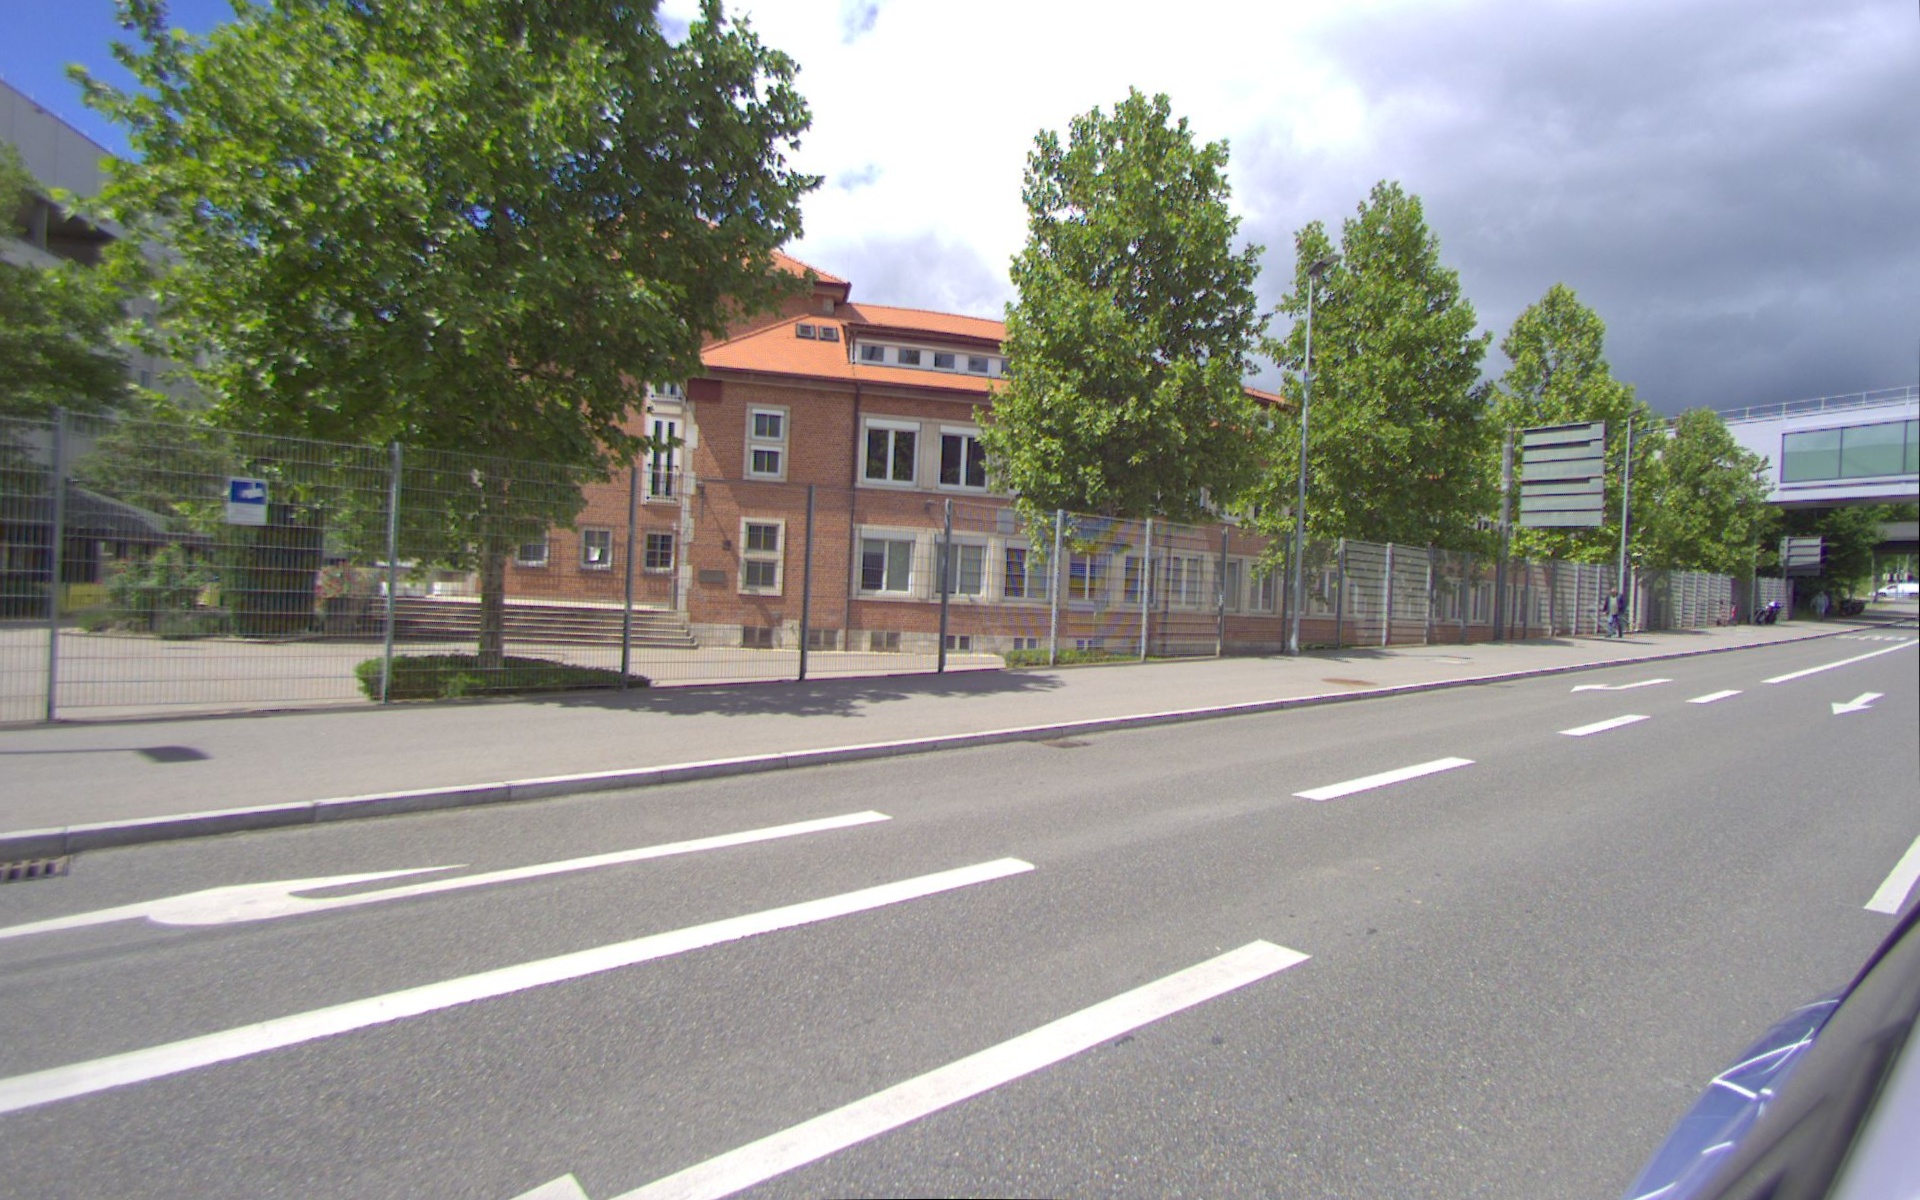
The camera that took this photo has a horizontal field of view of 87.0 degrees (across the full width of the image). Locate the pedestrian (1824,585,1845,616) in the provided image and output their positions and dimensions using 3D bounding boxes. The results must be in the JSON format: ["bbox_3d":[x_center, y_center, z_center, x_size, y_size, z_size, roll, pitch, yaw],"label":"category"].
[{"bbox_3d":[54.975,0.014,63.617,1.078,1.911,0.790,0,2,-43],"label":"pedestrian"}]

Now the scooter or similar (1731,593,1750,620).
[{"bbox_3d":[38.916,0.305,50.462,1.314,1.310,0.492,0,2,-42],"label":"scooter or similar"}]

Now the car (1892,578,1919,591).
[{"bbox_3d":[133.150,-2.123,141.237,1.794,1.829,4.254,0,1,-36],"label":"car"}]

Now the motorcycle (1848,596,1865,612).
[{"bbox_3d":[66.954,0.264,75.581,2.076,1.169,0.679,0,2,-41],"label":"motorcycle"}]

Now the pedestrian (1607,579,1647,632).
[{"bbox_3d":[23.114,0.184,35.084,0.924,1.764,0.879,0,3,-42],"label":"pedestrian"}]

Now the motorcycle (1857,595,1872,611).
[{"bbox_3d":[68.873,0.250,77.043,2.124,1.157,0.679,0,2,-43],"label":"motorcycle"}]

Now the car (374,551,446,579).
[{"bbox_3d":[-37.390,-2.373,68.886,3.916,1.805,2.004,-1,1,-13],"label":"car"}]

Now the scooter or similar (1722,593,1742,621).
[{"bbox_3d":[37.539,0.329,49.200,1.314,1.310,0.492,0,2,-42],"label":"scooter or similar"}]

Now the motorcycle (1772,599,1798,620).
[{"bbox_3d":[45.369,0.515,55.657,2.467,1.077,0.709,0,4,-43],"label":"motorcycle"}]

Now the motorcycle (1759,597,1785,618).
[{"bbox_3d":[43.047,0.385,53.641,2.209,1.077,0.669,0,4,-43],"label":"motorcycle"}]
